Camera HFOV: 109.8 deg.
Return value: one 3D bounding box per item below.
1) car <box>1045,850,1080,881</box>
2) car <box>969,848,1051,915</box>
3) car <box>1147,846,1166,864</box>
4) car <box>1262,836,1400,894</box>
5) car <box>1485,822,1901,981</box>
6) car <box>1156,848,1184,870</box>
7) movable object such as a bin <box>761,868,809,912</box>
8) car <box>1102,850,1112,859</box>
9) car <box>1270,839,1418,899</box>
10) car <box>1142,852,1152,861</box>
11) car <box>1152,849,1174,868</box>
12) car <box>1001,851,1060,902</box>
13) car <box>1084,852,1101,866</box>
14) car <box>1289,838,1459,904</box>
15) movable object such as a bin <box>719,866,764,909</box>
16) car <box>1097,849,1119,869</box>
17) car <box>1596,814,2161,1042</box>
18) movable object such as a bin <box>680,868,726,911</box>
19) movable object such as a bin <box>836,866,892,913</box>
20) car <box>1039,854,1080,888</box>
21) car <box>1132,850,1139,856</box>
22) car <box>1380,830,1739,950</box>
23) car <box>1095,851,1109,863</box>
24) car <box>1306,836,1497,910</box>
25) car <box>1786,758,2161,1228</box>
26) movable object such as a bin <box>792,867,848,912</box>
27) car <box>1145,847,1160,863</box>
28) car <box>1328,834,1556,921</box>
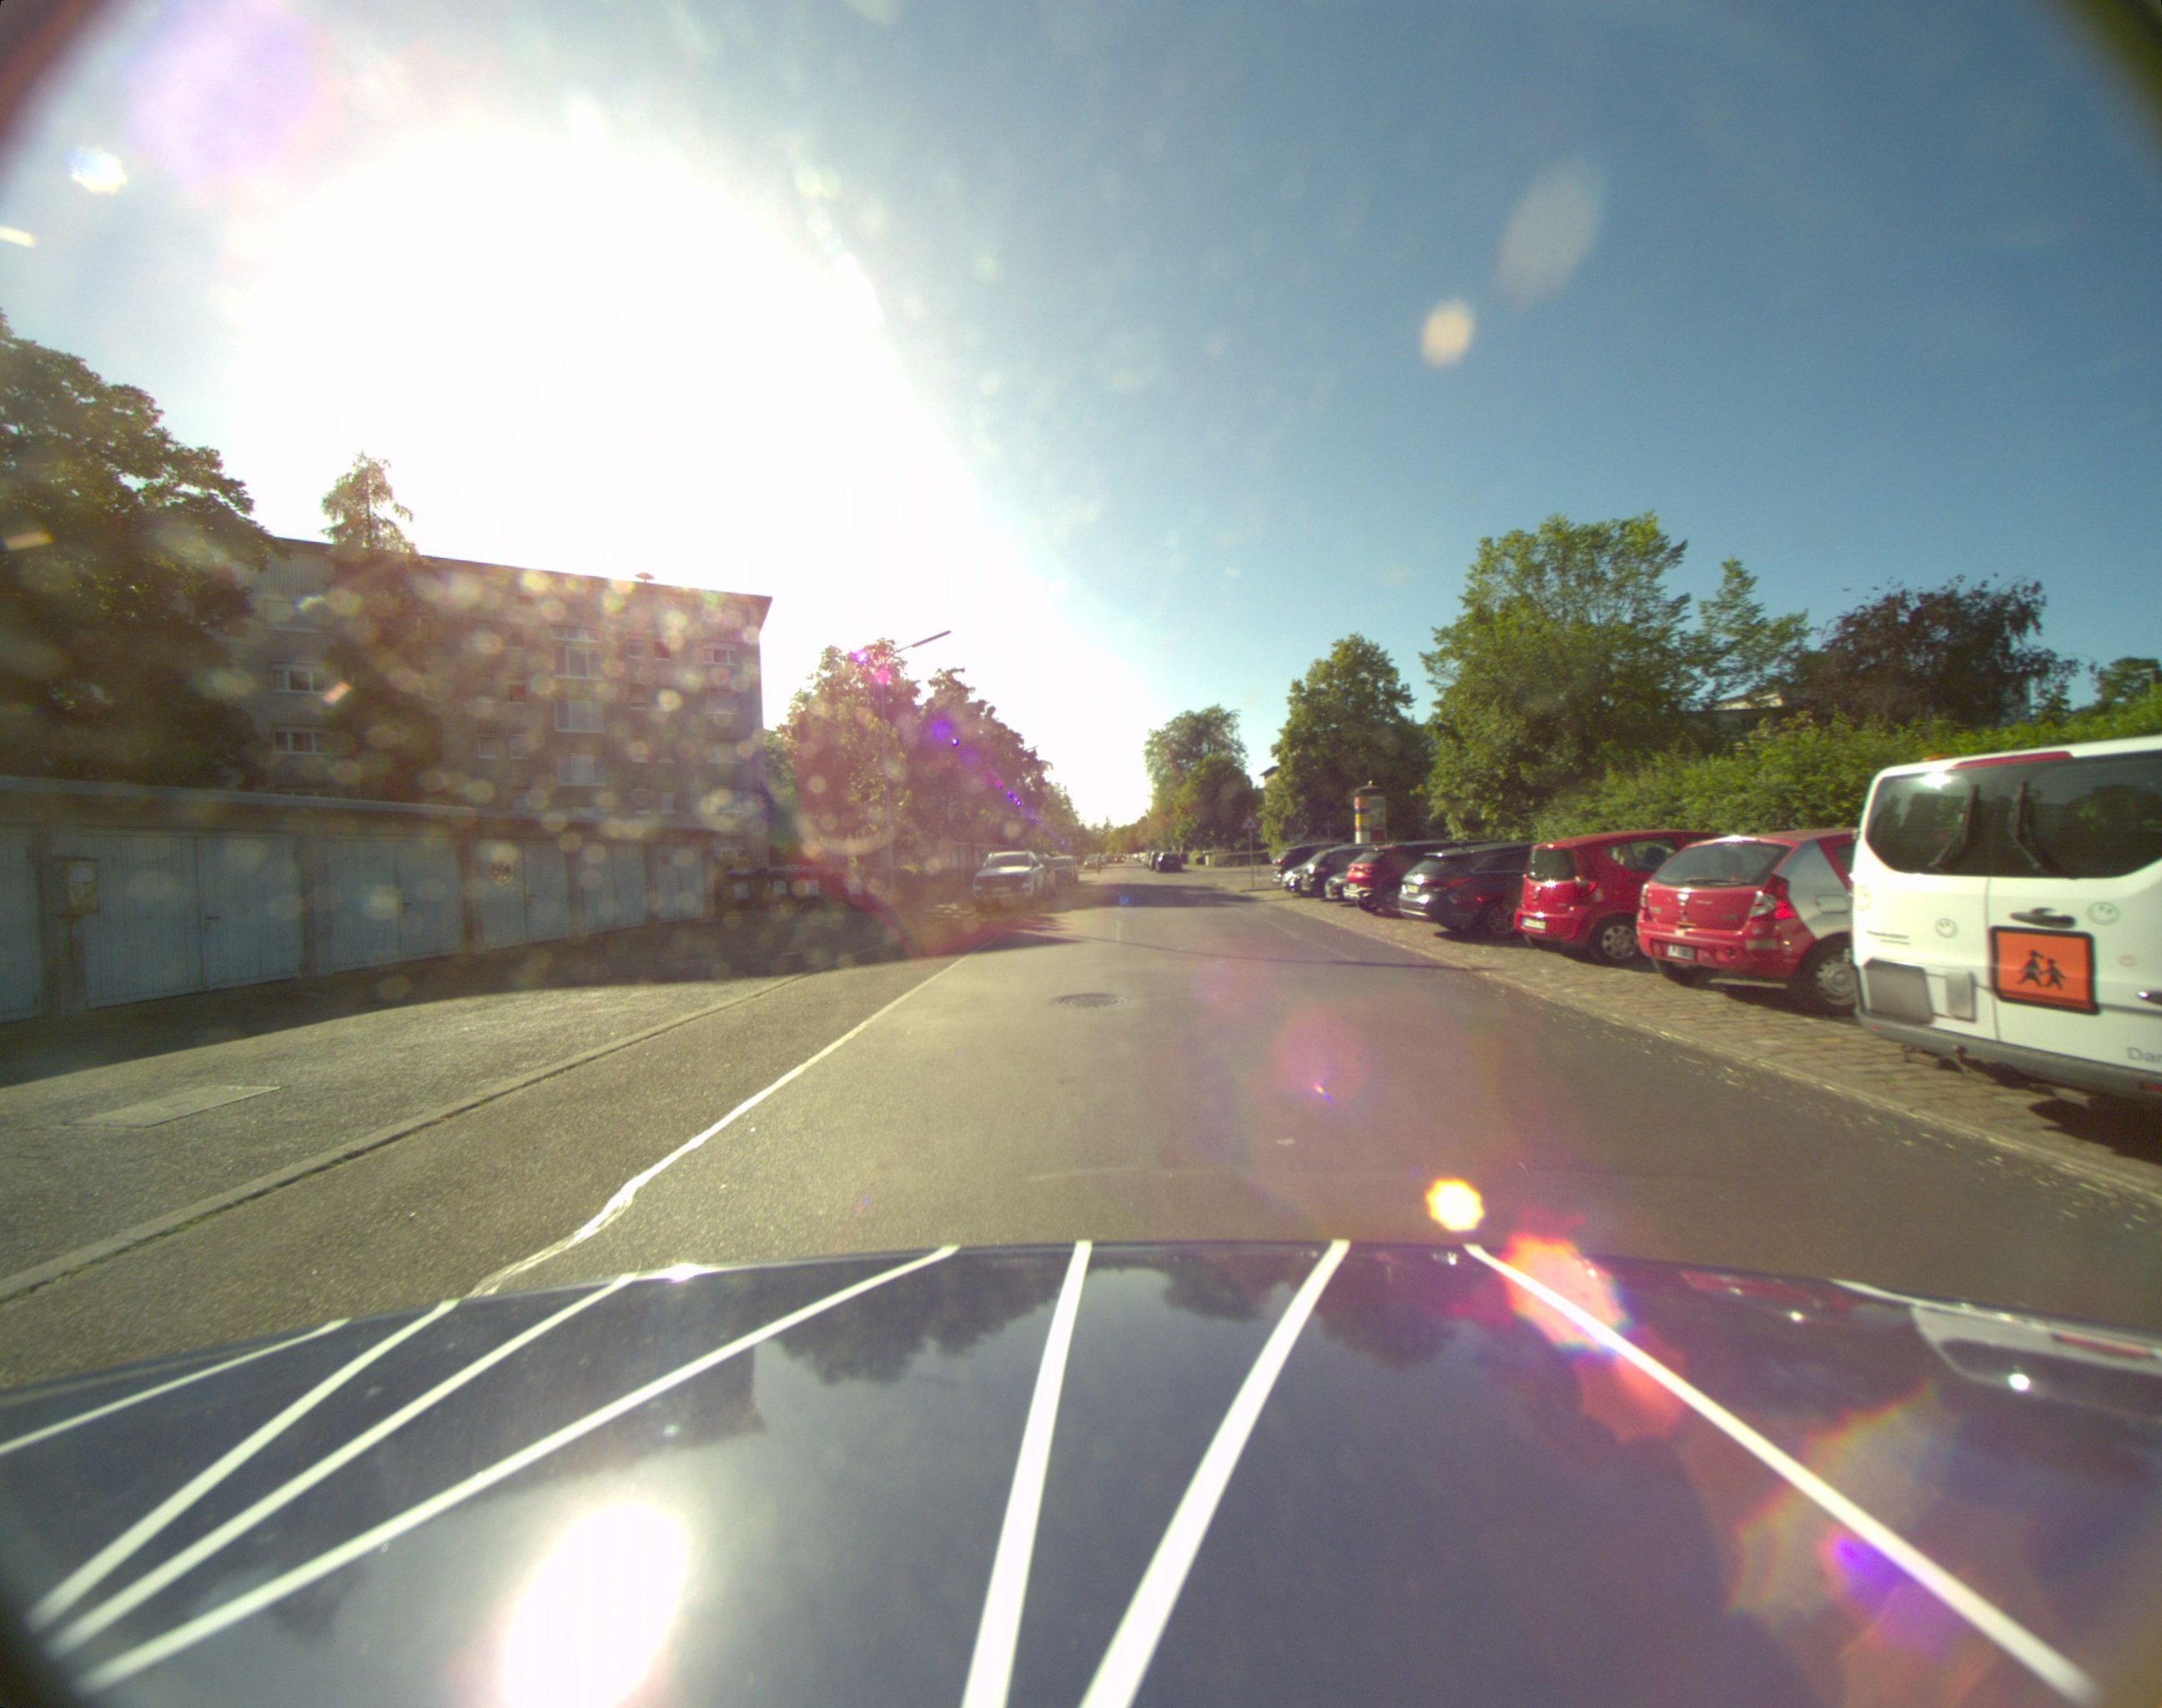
[{"bbox_3d":[-1.065,0.636,45.387,1.772,1.601,4.371,-3,2,1],"label":"car"},{"bbox_3d":[-2.198,0.821,25.037,1.911,1.829,5.275,-4,0,2],"label":"car"},{"bbox_3d":[8.264,0.100,83.041,1.909,1.930,4.512,0,0,4],"label":"car"},{"bbox_3d":[8.810,0.363,26.993,4.197,1.646,1.846,-4,1,1],"label":"car"},{"bbox_3d":[7.456,0.555,9.602,3.610,1.558,1.882,-4,0,3],"label":"car"},{"bbox_3d":[6.908,0.351,59.163,1.784,1.564,4.424,-3,0,3],"label":"car"},{"bbox_3d":[-9.652,1.154,24.777,1.077,1.339,0.865,-2,2,14],"label":"movable object such as a bin"},{"bbox_3d":[4.954,0.093,143.684,1.732,1.586,3.813,-3,0,3],"label":"car"},{"bbox_3d":[8.273,0.445,24.162,3.997,1.524,1.831,-4,1,1],"label":"car"},{"bbox_3d":[11.518,0.443,132.226,1.632,1.619,3.556,0,0,3],"label":"car"},{"bbox_3d":[7.450,0.378,69.073,1.817,1.672,3.649,0,0,3],"label":"car"},{"bbox_3d":[-1.962,0.862,30.962,1.838,1.780,4.556,-4,-1,2],"label":"car"},{"bbox_3d":[1.307,0.566,86.320,1.732,1.462,3.813,-3,0,3],"label":"car"},{"bbox_3d":[8.313,0.462,21.841,4.102,1.504,1.812,-4,1,1],"label":"car"},{"bbox_3d":[-11.875,1.156,26.588,1.078,1.409,0.833,-2,2,8],"label":"movable object such as a bin"},{"bbox_3d":[2.323,0.447,65.222,1.732,1.586,3.813,-3,0,3],"label":"car"},{"bbox_3d":[7.224,0.586,7.019,3.612,1.558,1.852,-4,0,-2],"label":"car"},{"bbox_3d":[-13.306,1.248,26.774,1.078,1.409,0.833,-2,2,8],"label":"movable object such as a bin"},{"bbox_3d":[-6.779,1.095,23.770,1.252,1.339,1.053,-2,2,14],"label":"movable object such as a bin"},{"bbox_3d":[-1.123,0.854,41.010,1.808,1.584,4.023,-4,0,2],"label":"car"},{"bbox_3d":[13.990,-0.247,195.401,1.632,1.619,3.556,0,0,3],"label":"car"},{"bbox_3d":[7.488,0.545,12.253,4.554,1.470,1.748,-4,0,3],"label":"car"},{"bbox_3d":[3.006,0.366,108.407,1.732,1.586,3.813,-3,0,3],"label":"car"},{"bbox_3d":[8.123,0.454,19.556,4.028,1.504,1.905,-4,1,1],"label":"car"},{"bbox_3d":[6.709,0.405,3.738,4.489,1.965,2.000,-4,1,2],"label":"car"},{"bbox_3d":[-8.343,1.132,24.343,1.252,1.339,1.053,-2,2,14],"label":"movable object such as a bin"},{"bbox_3d":[9.225,0.122,98.185,1.732,1.941,3.813,0,0,3],"label":"car"},{"bbox_3d":[7.685,0.488,16.422,3.998,1.470,1.790,-4,0,-3],"label":"car"}]
